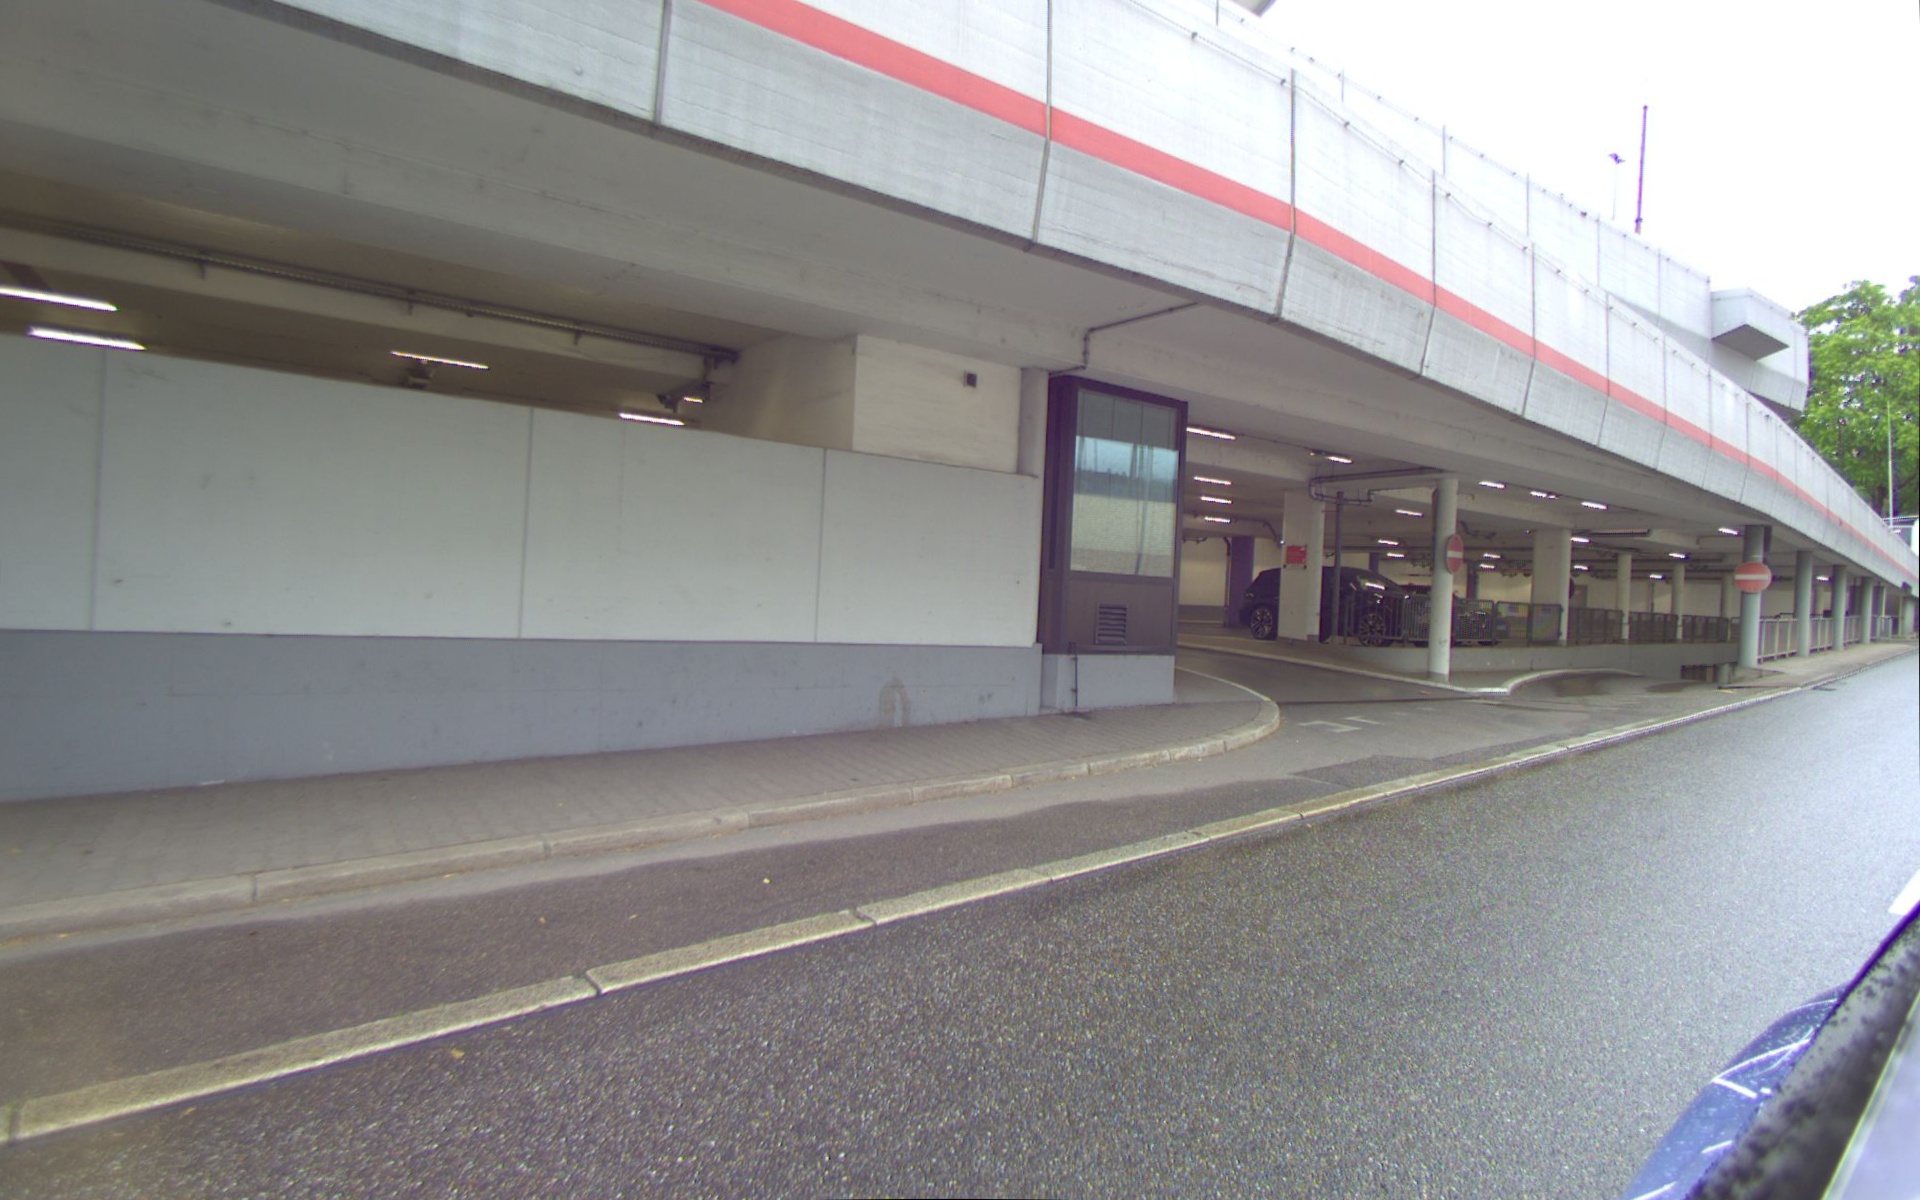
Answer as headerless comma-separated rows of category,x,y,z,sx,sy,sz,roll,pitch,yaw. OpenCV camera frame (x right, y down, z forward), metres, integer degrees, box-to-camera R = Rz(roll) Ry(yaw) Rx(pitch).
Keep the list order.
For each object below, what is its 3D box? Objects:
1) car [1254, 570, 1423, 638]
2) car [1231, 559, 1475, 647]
car,9.748,0.069,26.319,1.772,1.524,3.738,2,1,-34
car,8.175,0.001,21.465,1.787,1.660,4.591,1,1,-35
